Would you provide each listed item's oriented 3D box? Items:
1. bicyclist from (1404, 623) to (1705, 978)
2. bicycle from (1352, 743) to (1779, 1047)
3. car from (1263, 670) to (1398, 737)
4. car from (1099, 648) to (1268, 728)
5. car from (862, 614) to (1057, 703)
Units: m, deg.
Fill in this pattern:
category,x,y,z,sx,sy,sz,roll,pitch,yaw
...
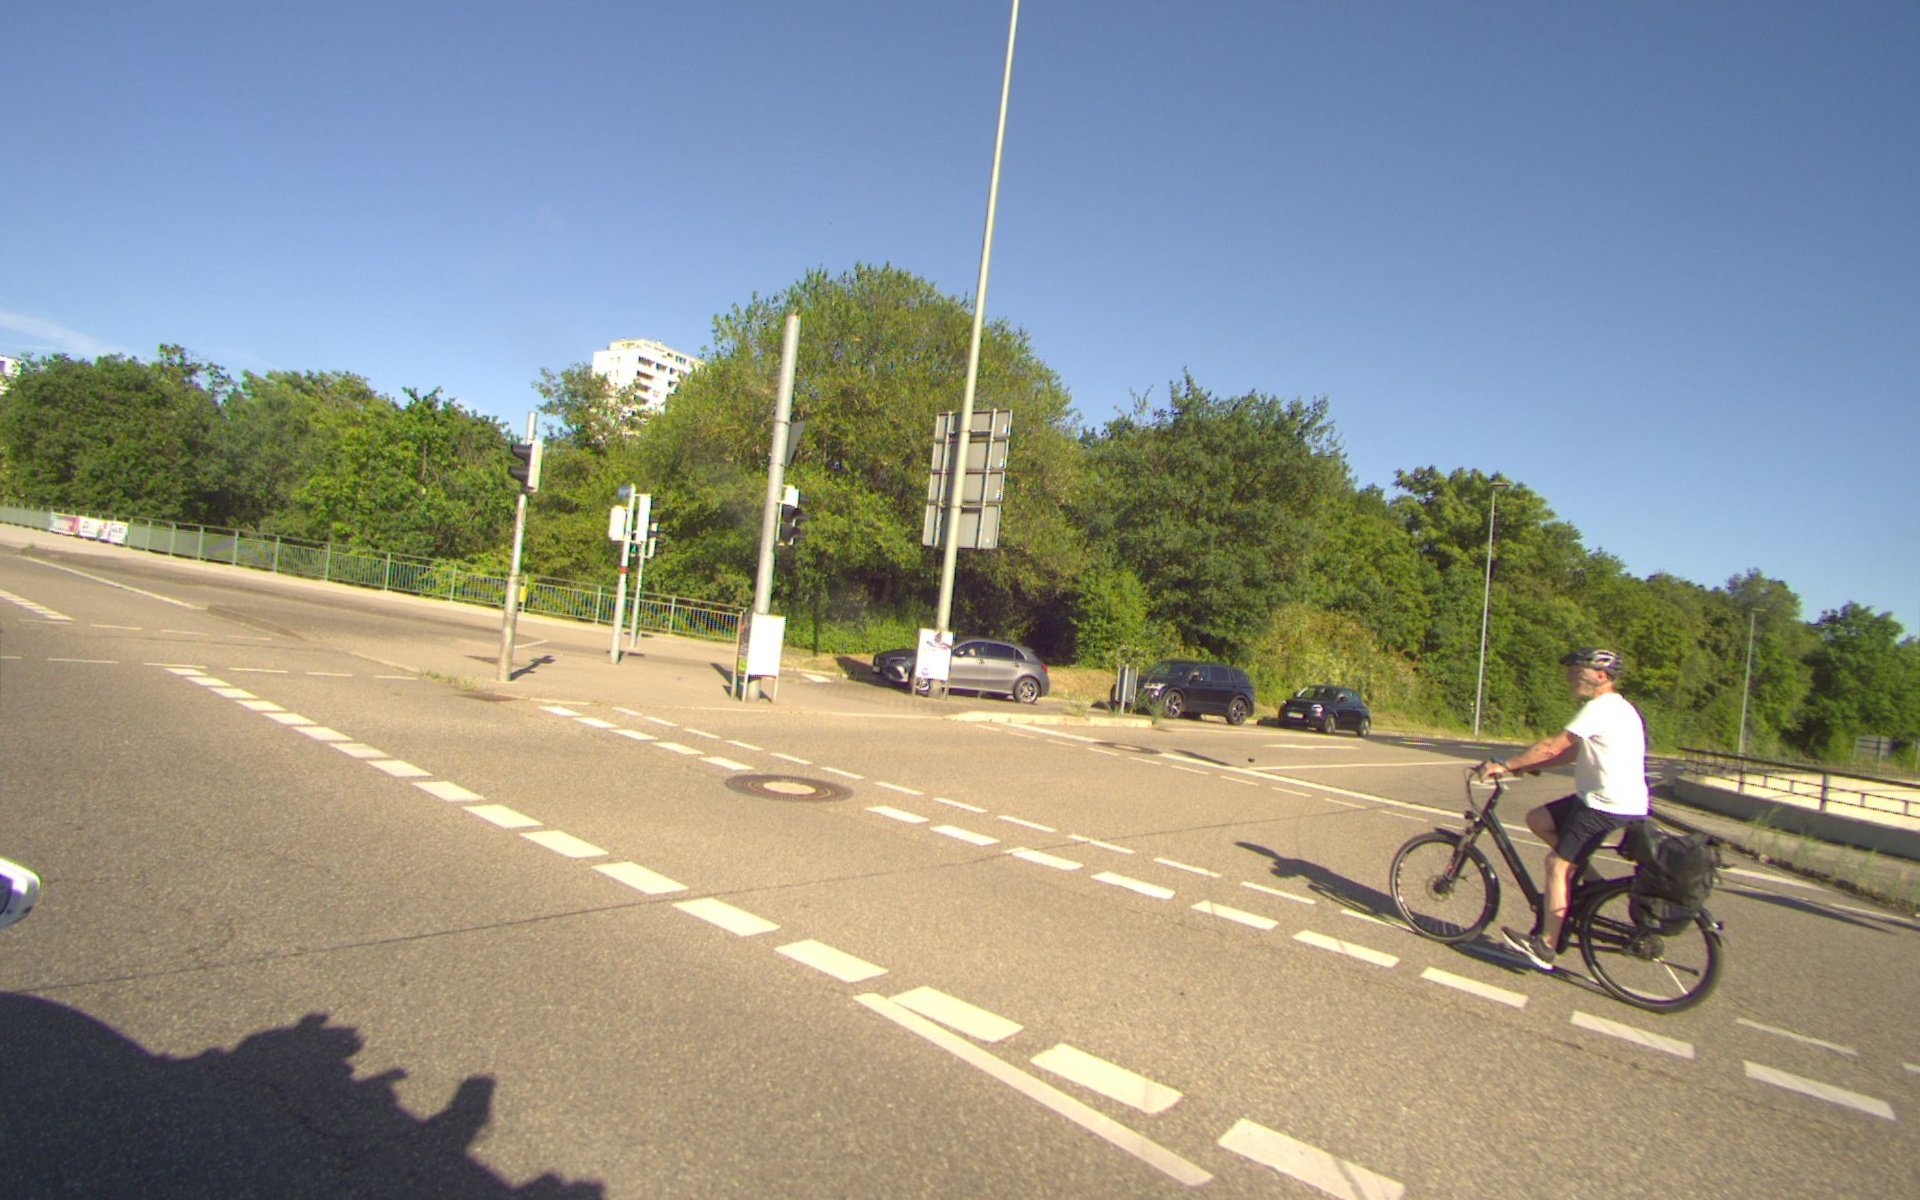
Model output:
category,x,y,z,sx,sy,sz,roll,pitch,yaw
bicyclist,3.275,1.041,5.598,0.720,1.678,1.102,9,-2,-36
bicycle,3.235,1.502,5.556,0.688,1.114,1.809,9,-3,-36
car,11.733,3.289,31.687,4.646,1.635,1.840,9,-2,-41
car,6.208,2.447,27.675,4.639,1.635,1.843,9,-2,-36
car,-0.009,1.417,24.233,4.192,1.570,1.850,8,-1,-25
